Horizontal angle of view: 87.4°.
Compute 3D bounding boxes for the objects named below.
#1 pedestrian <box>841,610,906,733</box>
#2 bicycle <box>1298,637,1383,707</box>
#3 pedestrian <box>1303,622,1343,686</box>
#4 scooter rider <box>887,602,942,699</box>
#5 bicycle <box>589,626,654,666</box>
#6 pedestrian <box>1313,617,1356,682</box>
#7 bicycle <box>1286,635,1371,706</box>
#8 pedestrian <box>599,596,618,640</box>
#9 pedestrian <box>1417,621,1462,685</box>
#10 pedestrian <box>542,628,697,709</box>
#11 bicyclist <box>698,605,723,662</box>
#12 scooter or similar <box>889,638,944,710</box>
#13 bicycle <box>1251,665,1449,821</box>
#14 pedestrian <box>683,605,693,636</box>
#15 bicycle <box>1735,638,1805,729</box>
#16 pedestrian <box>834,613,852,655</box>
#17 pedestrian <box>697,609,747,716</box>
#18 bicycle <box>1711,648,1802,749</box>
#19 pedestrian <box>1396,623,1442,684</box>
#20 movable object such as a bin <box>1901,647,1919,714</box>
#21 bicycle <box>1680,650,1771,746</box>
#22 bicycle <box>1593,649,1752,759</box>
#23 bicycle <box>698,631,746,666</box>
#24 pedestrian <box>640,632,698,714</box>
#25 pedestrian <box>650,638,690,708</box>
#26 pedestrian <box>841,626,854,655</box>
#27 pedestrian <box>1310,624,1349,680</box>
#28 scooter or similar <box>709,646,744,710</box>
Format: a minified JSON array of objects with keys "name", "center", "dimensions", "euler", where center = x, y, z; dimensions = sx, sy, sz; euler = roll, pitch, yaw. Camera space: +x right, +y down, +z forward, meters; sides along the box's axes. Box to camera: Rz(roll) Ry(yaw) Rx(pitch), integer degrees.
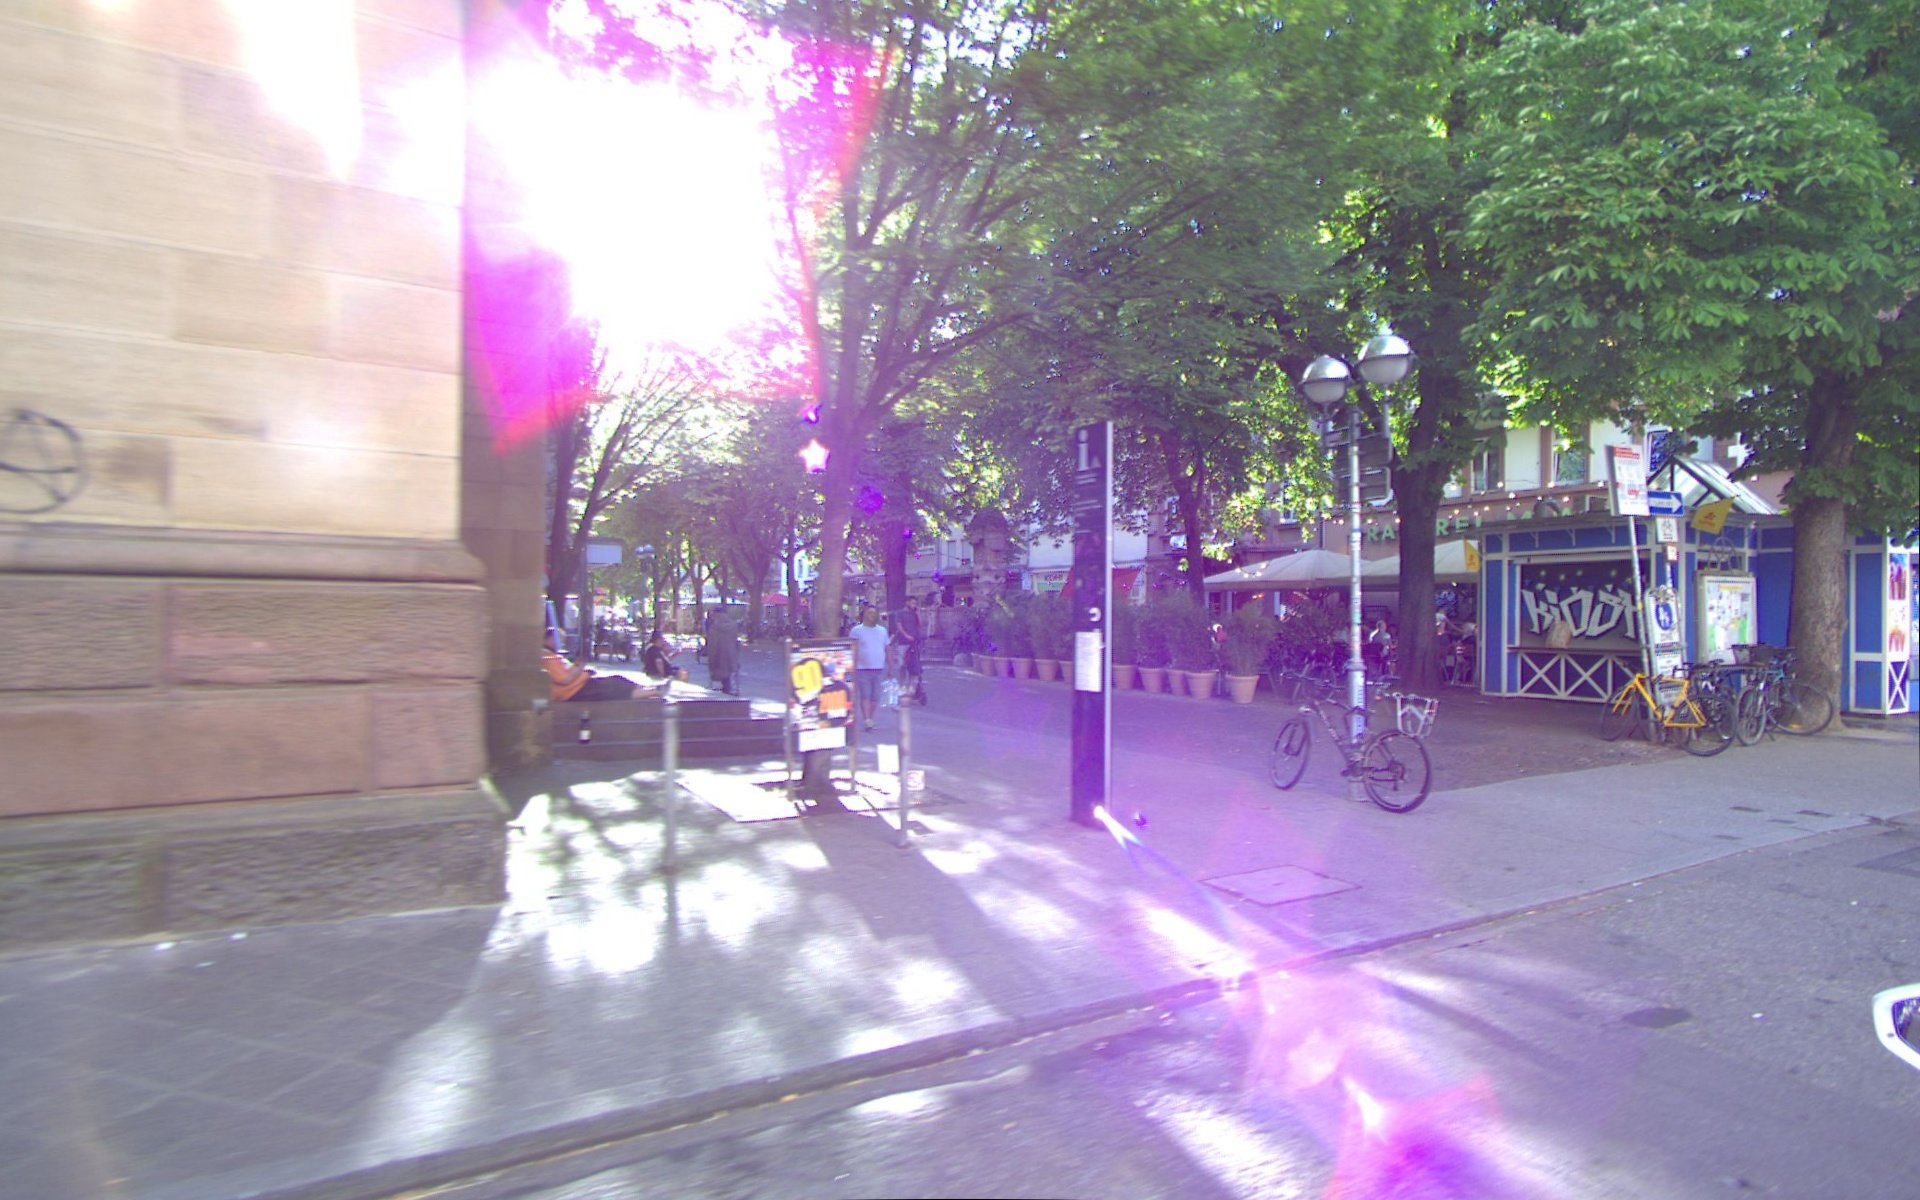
[{"name":"pedestrian","center":[-1.171,0.957,13.651],"dimensions":[0.707,1.614,0.476],"euler":[1,0,-33]},{"name":"bicycle","center":[6.523,1.210,17.164],"dimensions":[1.914,1.106,0.227],"euler":[-1,1,-31]},{"name":"pedestrian","center":[7.780,1.152,21.527],"dimensions":[0.590,1.322,0.541],"euler":[1,0,-30]},{"name":"scooter rider","center":[-0.816,0.890,17.833],"dimensions":[0.712,1.670,0.684],"euler":[1,0,-31]},{"name":"bicycle","center":[-11.076,1.498,32.898],"dimensions":[1.905,1.283,0.520],"euler":[2,0,-31]},{"name":"pedestrian","center":[7.830,1.027,21.009],"dimensions":[0.627,1.338,0.565],"euler":[1,0,-30]},{"name":"bicycle","center":[6.399,1.195,17.386],"dimensions":[1.914,1.106,0.227],"euler":[-1,1,-31]},{"name":"pedestrian","center":[-19.022,0.986,54.357],"dimensions":[0.722,2.348,0.758],"euler":[1,0,-33]},{"name":"pedestrian","center":[10.462,1.150,21.919],"dimensions":[0.625,1.338,0.597],"euler":[1,0,-24]},{"name":"pedestrian","center":[-3.615,0.705,10.639],"dimensions":[1.390,0.770,0.952],"euler":[2,0,-30]},{"name":"bicyclist","center":[-7.949,1.070,32.032],"dimensions":[0.494,1.785,0.683],"euler":[1,0,10]},{"name":"scooter or similar","center":[-0.774,1.290,17.735],"dimensions":[0.508,1.175,1.049],"euler":[1,0,-30]},{"name":"bicycle","center":[3.216,1.139,8.444],"dimensions":[0.343,1.079,1.681],"euler":[1,0,-31]},{"name":"pedestrian","center":[-18.054,1.373,66.701],"dimensions":[0.502,2.040,0.449],"euler":[1,0,-30]},{"name":"bicycle","center":[11.372,1.131,14.080],"dimensions":[2.023,1.146,0.492],"euler":[1,0,-44]},{"name":"pedestrian","center":[-4.714,1.365,40.460],"dimensions":[0.583,1.685,0.312],"euler":[1,0,-31]},{"name":"pedestrian","center":[-3.805,0.979,16.050],"dimensions":[0.546,1.653,0.554],"euler":[1,0,-42]},{"name":"bicycle","center":[9.403,1.133,11.846],"dimensions":[1.560,1.097,0.291],"euler":[0,1,-30]},{"name":"pedestrian","center":[10.316,1.196,22.597],"dimensions":[0.604,1.338,0.696],"euler":[1,0,-22]},{"name":"movable object such as a bin","center":[16.430,1.355,16.753],"dimensions":[0.764,1.101,0.866],"euler":[2,0,-29]},{"name":"bicycle","center":[9.236,1.154,12.104],"dimensions":[1.560,1.060,0.291],"euler":[0,1,-30]},{"name":"bicycle","center":[8.128,1.148,11.530],"dimensions":[0.341,1.097,1.572],"euler":[1,0,-18]},{"name":"bicycle","center":[-7.790,1.567,32.973],"dimensions":[0.478,1.003,2.767],"euler":[1,0,9]},{"name":"pedestrian","center":[-4.636,1.150,15.984],"dimensions":[0.733,1.248,0.610],"euler":[2,0,-30]},{"name":"pedestrian","center":[-4.849,1.211,16.779],"dimensions":[0.485,1.122,0.612],"euler":[1,0,-30]},{"name":"pedestrian","center":[-4.643,1.679,41.453],"dimensions":[0.407,1.165,0.427],"euler":[1,0,-30]},{"name":"pedestrian","center":[8.753,1.234,23.786],"dimensions":[0.670,1.284,0.561],"euler":[1,0,-30]},{"name":"scooter or similar","center":[-3.913,1.295,16.816],"dimensions":[0.497,1.019,0.730],"euler":[1,0,-19]}]
